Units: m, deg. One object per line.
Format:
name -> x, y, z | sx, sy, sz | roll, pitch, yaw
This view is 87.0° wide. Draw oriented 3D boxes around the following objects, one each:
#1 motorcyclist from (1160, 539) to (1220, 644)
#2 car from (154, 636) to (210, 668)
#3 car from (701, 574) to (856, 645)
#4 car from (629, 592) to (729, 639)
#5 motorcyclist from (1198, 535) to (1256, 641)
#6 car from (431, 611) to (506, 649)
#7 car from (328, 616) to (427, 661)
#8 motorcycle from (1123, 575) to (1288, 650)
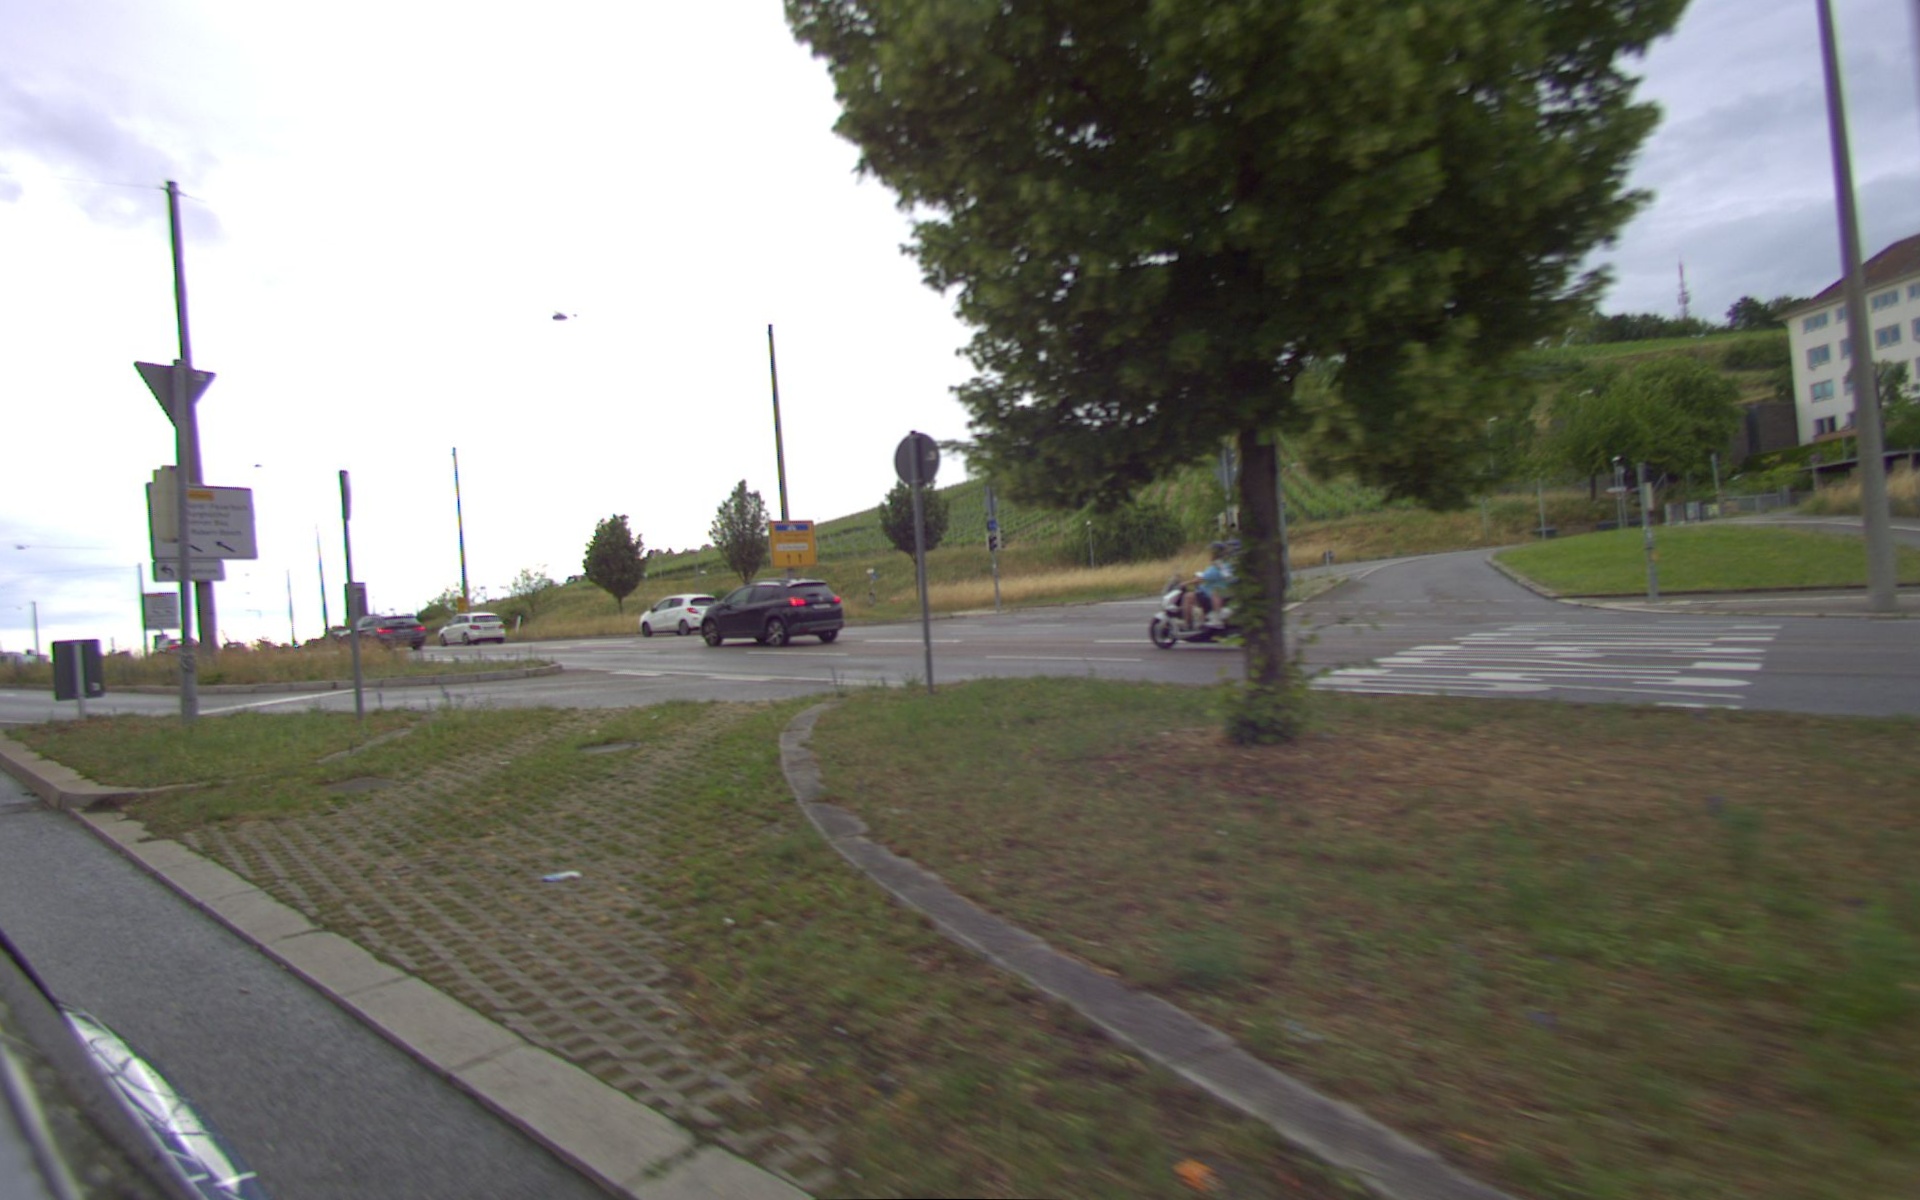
motorcyclist -> 3.680, -0.135, 16.191 | 0.643, 1.608, 0.576 | -4, -1, 40
car -> -44.775, 3.006, 58.186 | 3.998, 1.529, 1.749 | -6, -1, 41
car -> -4.319, 0.232, 23.864 | 3.657, 1.515, 1.523 | -2, 1, 39
car -> -10.312, 0.579, 37.021 | 3.772, 1.474, 1.634 | -4, 0, 41
motorcyclist -> 4.161, -0.190, 15.772 | 0.581, 1.593, 0.606 | -4, 0, 40
car -> -23.886, 1.438, 49.138 | 4.176, 1.660, 1.749 | -1, 1, 41
car -> -22.190, 1.457, 38.505 | 4.458, 1.515, 1.734 | -2, 1, 39
motorcycle -> 3.852, 0.212, 16.069 | 2.500, 1.058, 0.611 | -4, 0, 40
